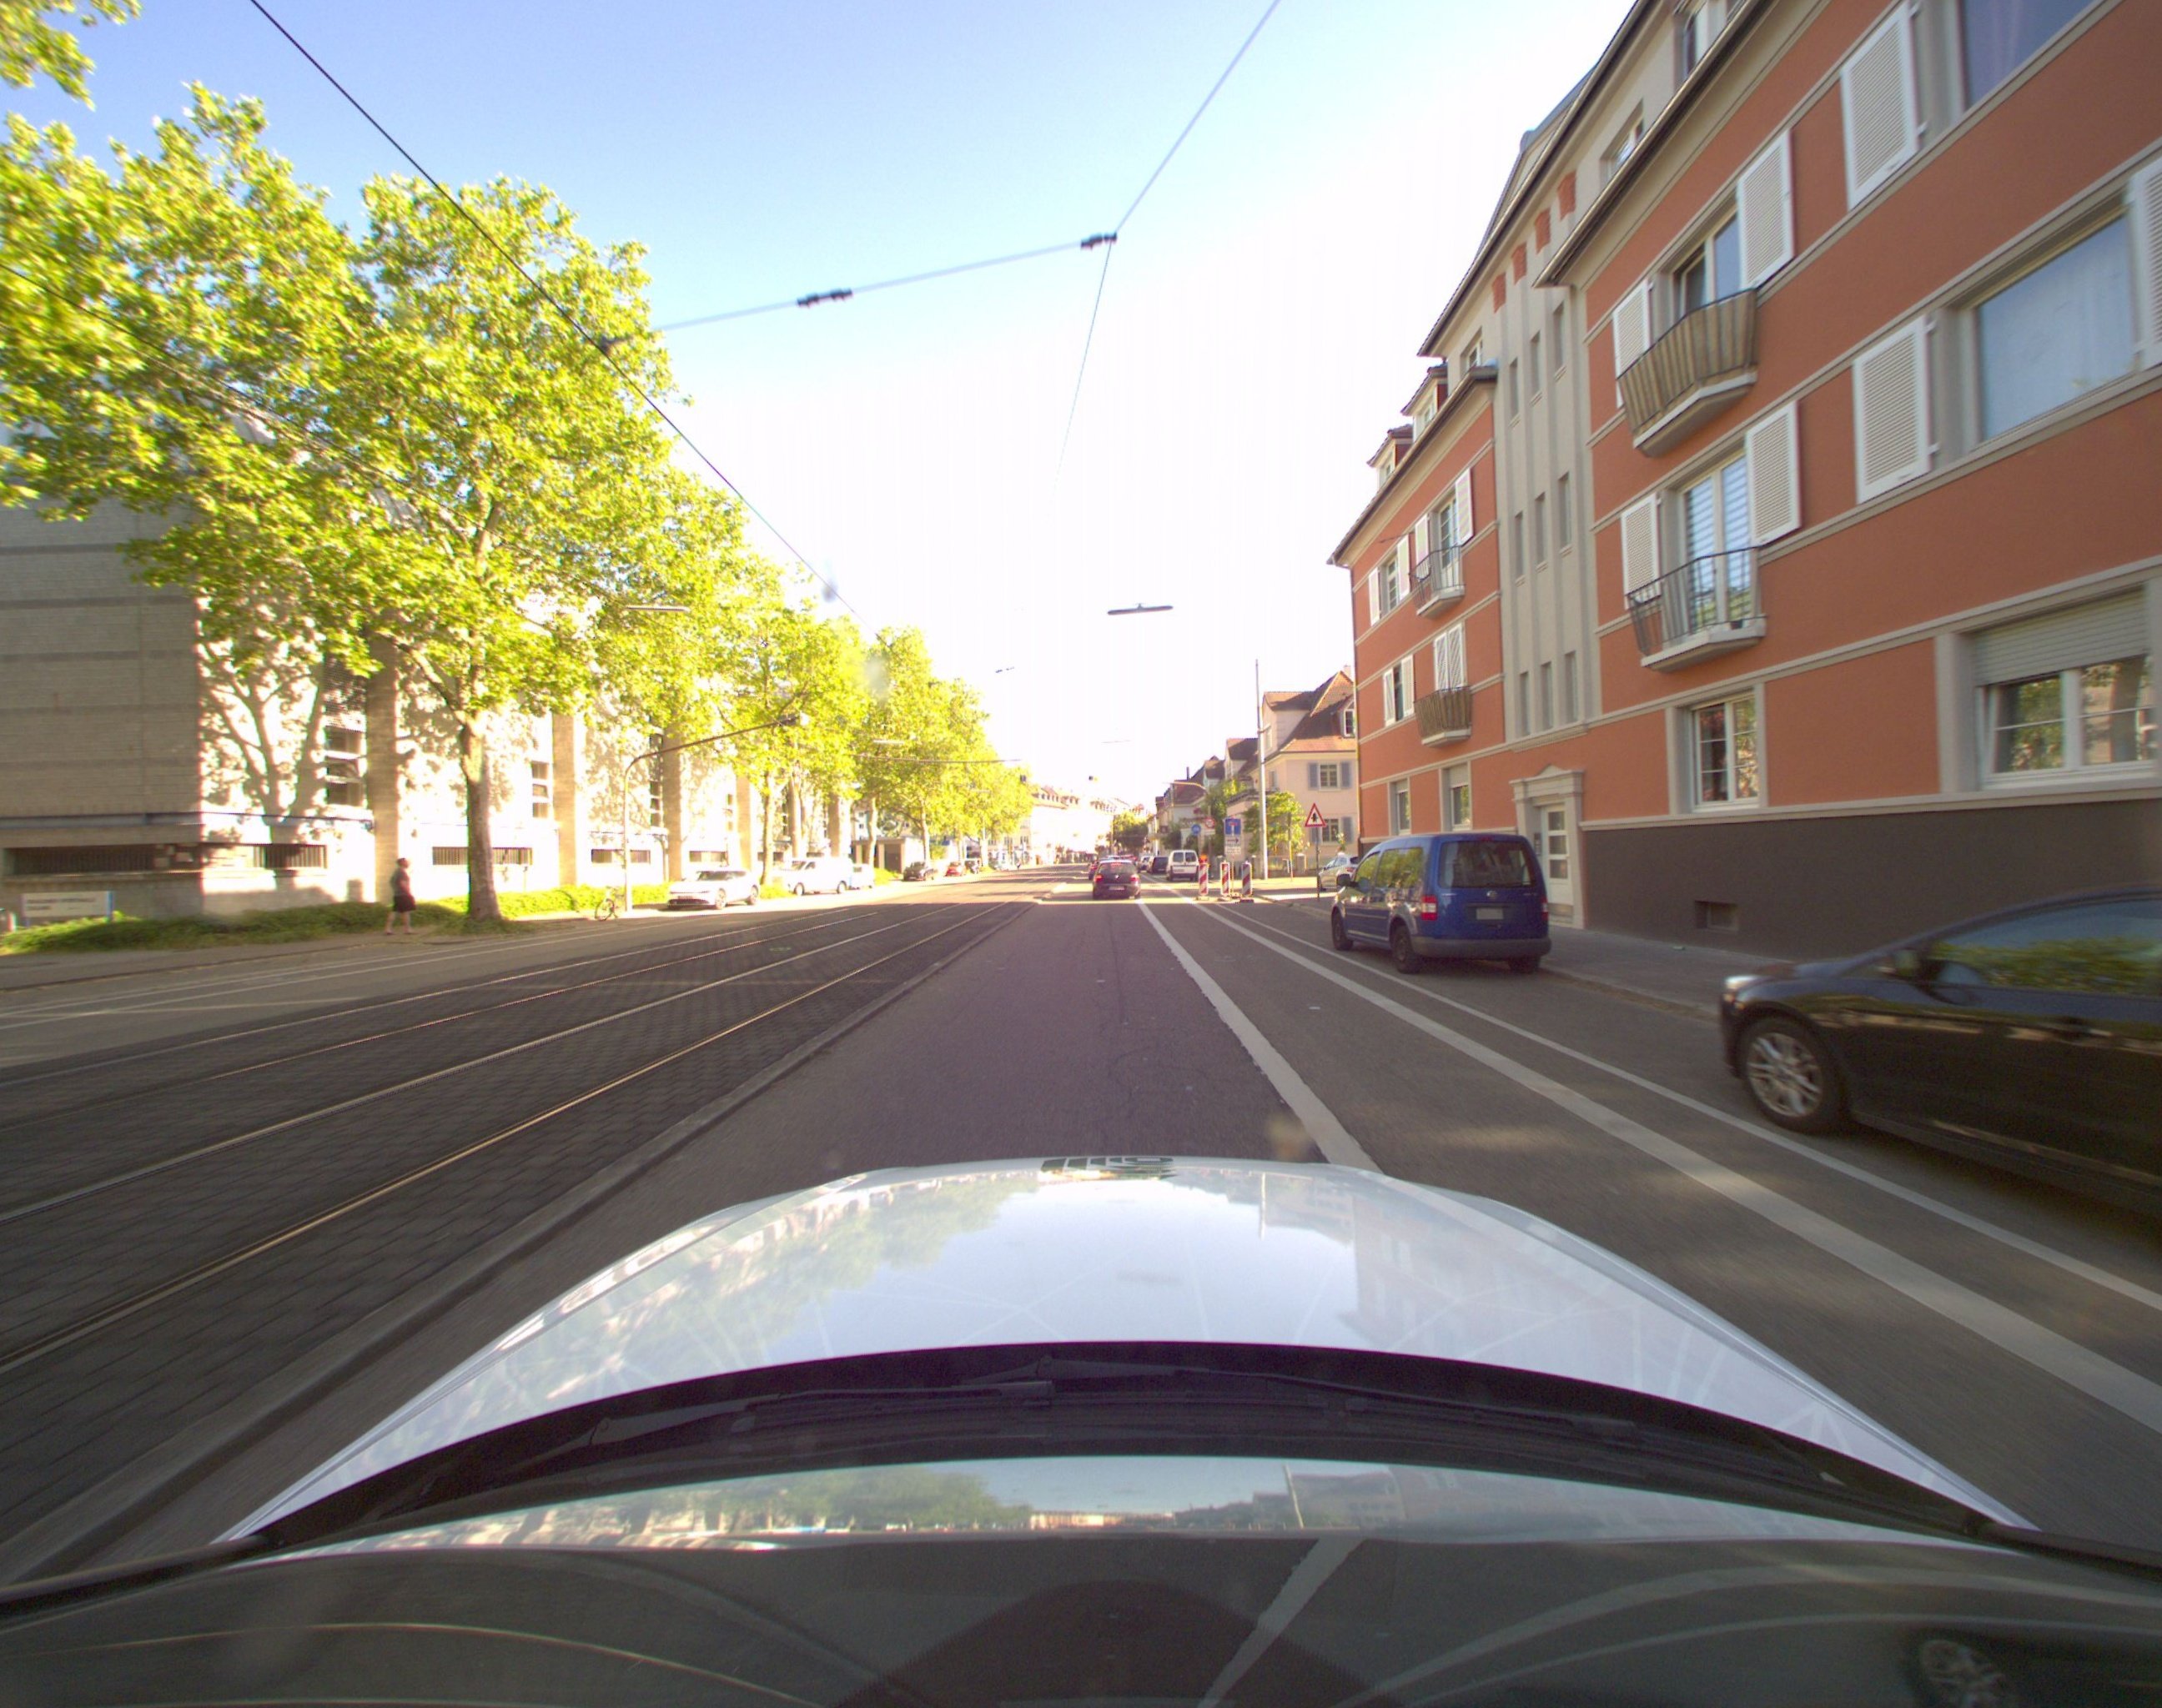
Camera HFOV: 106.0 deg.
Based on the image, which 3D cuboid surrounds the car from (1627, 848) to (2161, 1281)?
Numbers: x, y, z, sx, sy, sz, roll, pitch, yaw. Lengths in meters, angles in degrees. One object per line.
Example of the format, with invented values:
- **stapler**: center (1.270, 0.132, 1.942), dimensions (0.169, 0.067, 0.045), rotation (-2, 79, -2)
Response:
- **car**: center (4.642, 0.738, 3.232), dimensions (1.748, 1.511, 4.761), rotation (0, 0, -1)

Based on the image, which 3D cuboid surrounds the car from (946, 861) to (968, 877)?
- **car**: center (-12.560, 1.544, 82.481), dimensions (1.564, 1.533, 3.573), rotation (-1, -1, 2)

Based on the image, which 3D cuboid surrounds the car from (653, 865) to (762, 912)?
- **car**: center (-14.201, 1.260, 31.334), dimensions (2.005, 1.572, 4.693), rotation (0, 0, 0)

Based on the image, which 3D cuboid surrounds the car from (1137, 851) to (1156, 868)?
- **car**: center (7.148, 0.610, 89.410), dimensions (1.811, 1.799, 4.001), rotation (-1, 0, 2)

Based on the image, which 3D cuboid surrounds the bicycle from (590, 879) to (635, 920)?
- **bicycle**: center (-14.792, 1.415, 25.759), dimensions (0.580, 1.209, 1.651), rotation (0, 0, -4)

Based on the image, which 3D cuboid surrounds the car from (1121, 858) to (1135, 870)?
- **car**: center (6.156, 1.278, 107.360), dimensions (1.630, 1.472, 3.731), rotation (-2, 0, 2)

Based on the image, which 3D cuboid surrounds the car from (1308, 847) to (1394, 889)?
- **car**: center (10.031, 0.588, 30.661), dimensions (1.697, 1.389, 4.514), rotation (-2, -3, 0)

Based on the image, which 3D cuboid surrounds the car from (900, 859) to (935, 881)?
- **car**: center (-13.212, 1.286, 65.963), dimensions (1.881, 1.666, 4.001), rotation (-1, 0, 2)

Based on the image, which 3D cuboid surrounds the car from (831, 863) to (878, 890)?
- **car**: center (-13.632, 1.319, 49.145), dimensions (1.568, 1.507, 4.092), rotation (0, 0, 2)

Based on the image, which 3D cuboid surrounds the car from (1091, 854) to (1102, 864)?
- **car**: center (2.522, 0.737, 129.301), dimensions (1.630, 1.472, 3.731), rotation (-2, 0, 2)

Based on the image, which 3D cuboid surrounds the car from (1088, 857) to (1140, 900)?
- **car**: center (1.143, 0.839, 29.855), dimensions (1.743, 1.375, 4.000), rotation (-2, 0, 0)

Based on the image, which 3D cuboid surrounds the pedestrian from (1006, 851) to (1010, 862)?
- **pedestrian**: center (-16.798, 0.600, 187.672), dimensions (0.955, 2.659, 1.096), rotation (0, 0, -8)

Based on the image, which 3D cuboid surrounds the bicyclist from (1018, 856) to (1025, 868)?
- **bicyclist**: center (-8.567, 1.147, 118.197), dimensions (0.910, 1.833, 0.960), rotation (0, 0, 1)

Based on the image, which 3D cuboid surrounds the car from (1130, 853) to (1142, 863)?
- **car**: center (8.084, 0.561, 119.334), dimensions (1.630, 1.472, 3.731), rotation (-1, 0, 2)

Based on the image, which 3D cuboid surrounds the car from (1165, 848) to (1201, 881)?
- **car**: center (5.843, 0.589, 47.036), dimensions (1.752, 1.838, 3.549), rotation (0, 0, 2)

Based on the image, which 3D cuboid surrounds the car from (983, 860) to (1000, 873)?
- **car**: center (-12.173, 1.659, 111.155), dimensions (1.877, 1.669, 3.805), rotation (0, 0, 1)

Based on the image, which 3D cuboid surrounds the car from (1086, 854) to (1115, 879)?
- **car**: center (1.312, 0.781, 52.685), dimensions (1.742, 1.537, 3.894), rotation (-2, 0, 2)

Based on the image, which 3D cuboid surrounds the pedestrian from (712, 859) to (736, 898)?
- **pedestrian**: center (-16.611, 1.128, 37.909), dimensions (0.794, 1.820, 0.670), rotation (0, 0, 1)

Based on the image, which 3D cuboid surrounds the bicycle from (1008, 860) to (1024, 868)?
- **bicycle**: center (-11.532, 1.794, 144.275), dimensions (2.732, 1.262, 0.706), rotation (0, 0, 1)

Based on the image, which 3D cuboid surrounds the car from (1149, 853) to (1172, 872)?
- **car**: center (6.487, 0.679, 66.758), dimensions (1.654, 1.526, 4.037), rotation (-1, 0, 2)

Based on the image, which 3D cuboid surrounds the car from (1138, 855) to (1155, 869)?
- **car**: center (6.793, 0.785, 84.564), dimensions (1.574, 1.375, 4.001), rotation (-1, 0, 2)

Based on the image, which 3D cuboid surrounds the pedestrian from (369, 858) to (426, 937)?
- **pedestrian**: center (-16.527, 1.026, 19.704), dimensions (0.783, 1.870, 0.670), rotation (0, 0, -5)

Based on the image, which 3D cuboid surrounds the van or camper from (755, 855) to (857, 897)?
- **van or camper**: center (-13.959, 1.056, 41.687), dimensions (2.042, 1.949, 5.217), rotation (0, 0, 21)

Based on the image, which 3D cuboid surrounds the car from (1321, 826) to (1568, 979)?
- **car**: center (4.935, 0.574, 11.787), dimensions (1.697, 1.810, 4.271), rotation (0, 0, 0)

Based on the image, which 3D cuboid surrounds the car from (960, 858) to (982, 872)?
- **car**: center (-12.342, 1.231, 91.787), dimensions (1.786, 1.465, 3.837), rotation (1, 0, 2)

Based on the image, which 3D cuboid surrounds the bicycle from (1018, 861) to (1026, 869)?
- **bicycle**: center (-8.576, 1.527, 118.130), dimensions (0.910, 1.083, 3.204), rotation (0, 0, 2)

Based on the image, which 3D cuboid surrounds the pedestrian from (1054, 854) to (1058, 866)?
- **pedestrian**: center (-5.914, 1.396, 190.731), dimensions (0.953, 2.659, 1.099), rotation (0, 0, 0)
